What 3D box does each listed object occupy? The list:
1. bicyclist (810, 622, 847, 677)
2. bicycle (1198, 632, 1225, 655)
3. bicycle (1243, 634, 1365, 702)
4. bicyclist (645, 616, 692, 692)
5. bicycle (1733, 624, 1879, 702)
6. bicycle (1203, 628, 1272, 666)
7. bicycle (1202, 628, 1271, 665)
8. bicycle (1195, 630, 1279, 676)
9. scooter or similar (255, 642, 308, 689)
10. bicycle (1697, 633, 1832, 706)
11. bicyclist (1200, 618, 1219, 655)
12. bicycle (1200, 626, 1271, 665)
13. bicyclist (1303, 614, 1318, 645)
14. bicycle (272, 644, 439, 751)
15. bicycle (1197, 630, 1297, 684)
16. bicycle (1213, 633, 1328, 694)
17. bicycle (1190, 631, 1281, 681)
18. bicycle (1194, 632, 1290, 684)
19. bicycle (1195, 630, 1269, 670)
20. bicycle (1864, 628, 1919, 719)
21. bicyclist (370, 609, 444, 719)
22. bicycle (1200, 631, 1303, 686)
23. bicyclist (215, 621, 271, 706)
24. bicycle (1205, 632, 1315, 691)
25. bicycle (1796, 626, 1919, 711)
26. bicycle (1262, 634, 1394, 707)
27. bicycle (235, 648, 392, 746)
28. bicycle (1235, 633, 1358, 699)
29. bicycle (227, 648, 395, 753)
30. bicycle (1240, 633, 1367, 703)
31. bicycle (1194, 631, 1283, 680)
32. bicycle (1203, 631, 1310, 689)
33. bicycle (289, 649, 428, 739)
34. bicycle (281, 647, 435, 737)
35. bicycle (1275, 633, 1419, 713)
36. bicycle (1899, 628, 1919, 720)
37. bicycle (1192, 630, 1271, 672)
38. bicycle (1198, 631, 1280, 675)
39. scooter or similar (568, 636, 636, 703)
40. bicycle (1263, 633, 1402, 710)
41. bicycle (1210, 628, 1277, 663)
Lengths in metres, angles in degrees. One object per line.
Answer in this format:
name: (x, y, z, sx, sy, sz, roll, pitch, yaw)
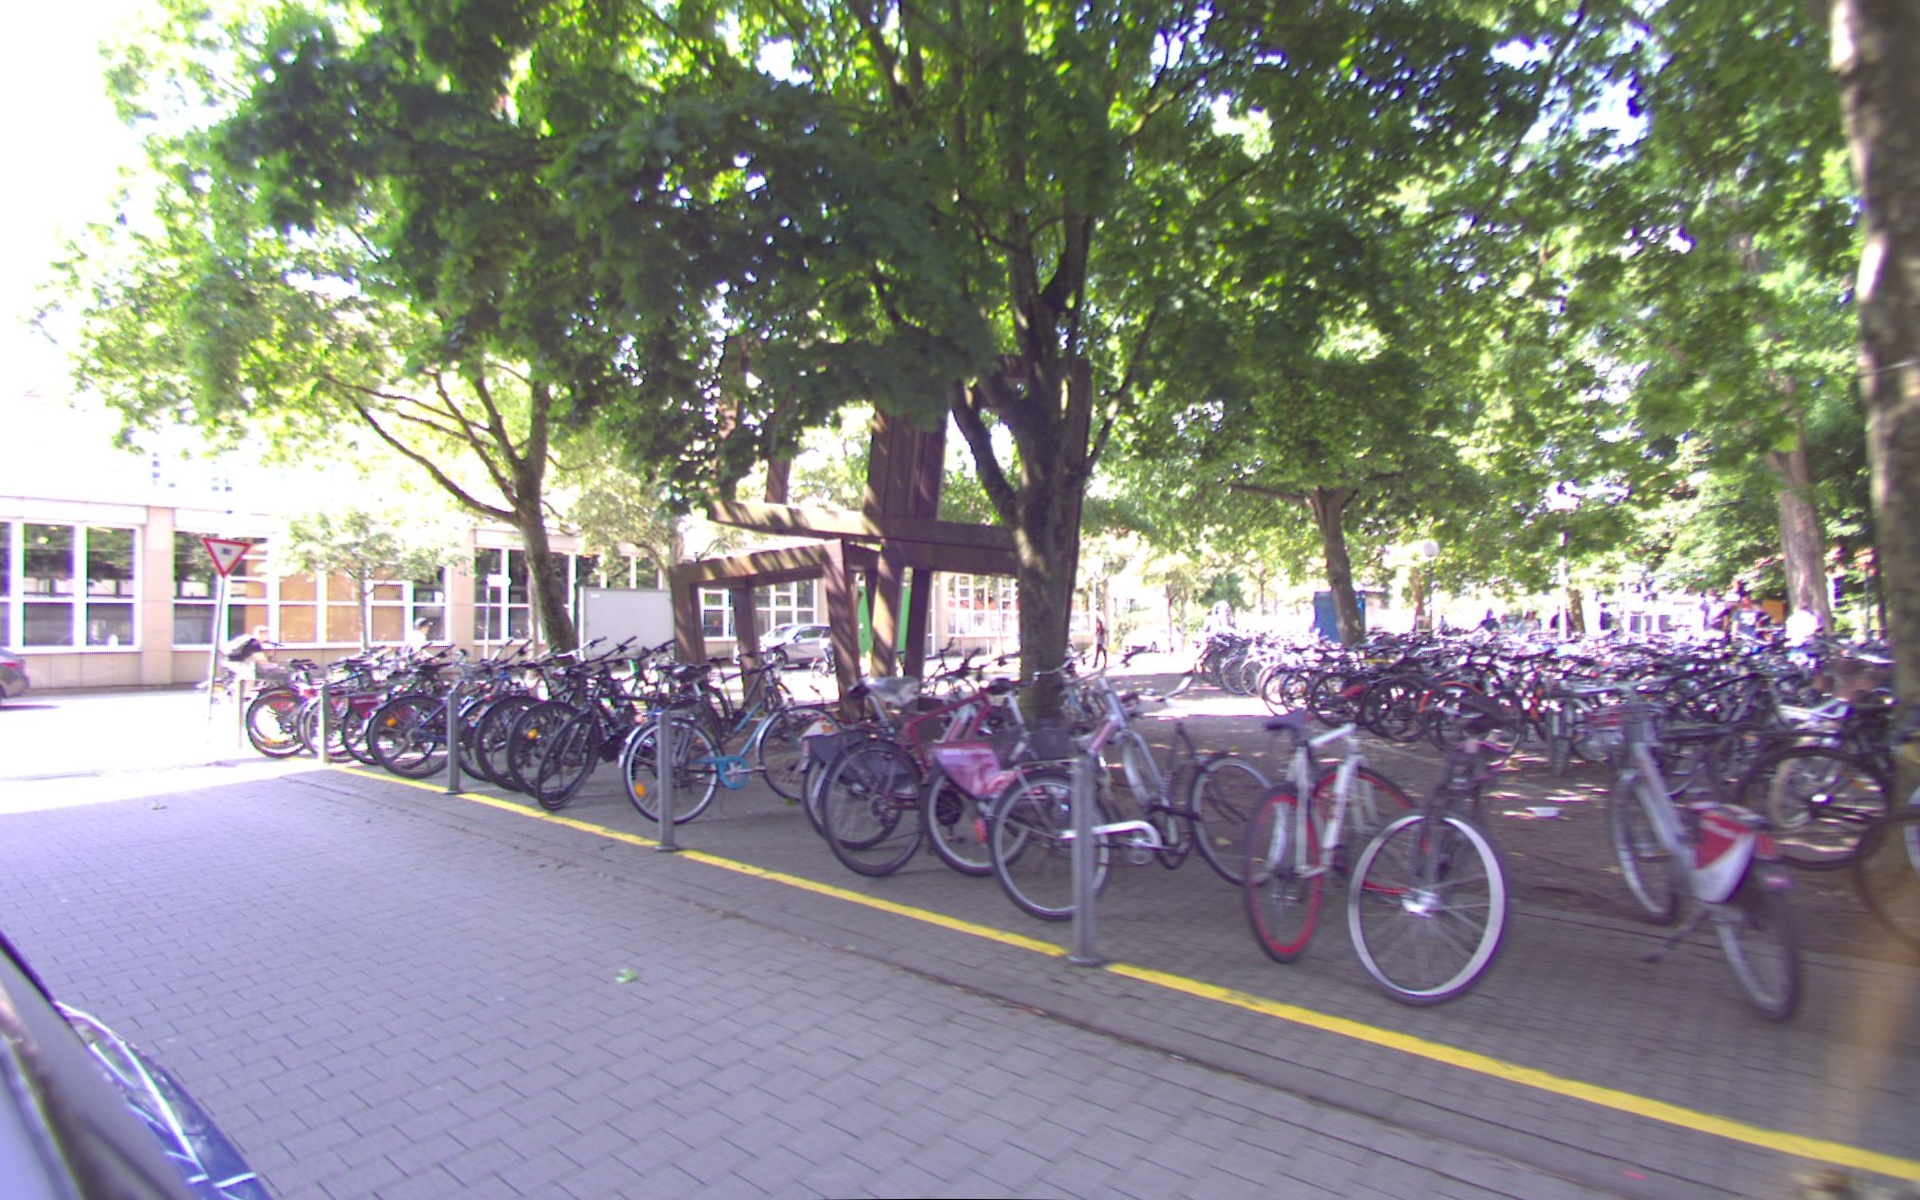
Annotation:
bicyclist: (-3.867, 1.436, 29.786, 0.639, 1.585, 0.864, 0, -1, 37)
bicycle: (12.727, 2.197, 51.245, 0.604, 1.116, 2.047, -3, -3, 35)
bicycle: (5.828, 1.143, 17.227, 1.886, 1.116, 0.501, -1, -1, 11)
bicyclist: (-7.537, 1.368, 26.183, 0.674, 1.902, 0.957, -1, 0, 38)
bicycle: (12.352, 0.908, 14.797, 1.676, 1.092, 0.474, -1, -1, 2)
bicycle: (8.443, 1.425, 30.852, 2.010, 1.116, 0.500, -1, -1, 14)
bicycle: (8.547, 1.438, 31.367, 2.010, 1.116, 0.500, -1, -1, 14)
bicycle: (6.918, 1.333, 25.347, 2.010, 1.116, 0.500, -1, -1, 14)
scooter or similar: (-18.430, 1.762, 27.496, 0.289, 1.235, 1.142, -3, -3, 43)
bicycle: (12.539, 1.084, 15.803, 1.676, 1.092, 0.474, -1, -1, 2)
bicyclist: (12.629, 1.849, 51.143, 0.604, 1.815, 0.888, -3, -3, 36)
bicycle: (8.206, 1.358, 30.240, 2.010, 1.116, 0.500, -1, -1, 14)
bicyclist: (22.107, 1.857, 63.857, 0.668, 1.889, 0.817, -3, -3, 35)
bicycle: (-6.954, 1.093, 11.681, 1.603, 1.116, 0.498, 0, -3, -38)
bicycle: (6.192, 1.232, 21.891, 2.007, 1.116, 0.501, -1, -1, 8)
bicycle: (5.777, 1.180, 18.892, 1.984, 1.116, 0.501, -1, -1, 11)
bicycle: (6.433, 1.307, 23.691, 2.010, 1.116, 0.500, -1, -1, 14)
bicycle: (6.290, 1.296, 22.656, 2.007, 1.116, 0.501, -1, -1, 8)
bicycle: (7.733, 1.424, 28.829, 2.010, 1.116, 0.500, -1, -1, 14)
bicycle: (12.301, 0.894, 12.563, 1.676, 1.092, 0.474, -1, -1, 2)
bicyclist: (-9.913, 1.130, 18.144, 0.802, 1.906, 0.858, -1, -2, 31)
bicycle: (6.107, 1.230, 21.252, 2.007, 1.116, 0.501, -1, -1, 8)
bicyclist: (-13.592, 1.188, 19.185, 0.605, 1.546, 0.717, 0, -1, 42)
bicycle: (5.801, 1.189, 19.655, 1.984, 1.116, 0.501, -1, -1, 11)
bicycle: (12.291, 0.914, 13.582, 1.676, 1.092, 0.474, -1, -1, 2)
bicycle: (5.802, 1.110, 16.031, 1.886, 1.116, 0.501, -1, -1, 11)
bicycle: (-8.162, 1.198, 12.837, 0.496, 1.116, 1.608, -4, -3, 40)
bicycle: (5.878, 1.150, 17.767, 1.984, 1.116, 0.501, -1, -1, 11)
bicycle: (-7.677, 1.158, 12.025, 0.496, 1.116, 1.608, -4, -3, 40)
bicycle: (5.613, 1.110, 16.618, 1.886, 1.116, 0.501, -1, -1, 11)
bicycle: (6.633, 1.321, 24.195, 2.010, 1.116, 0.500, -1, -1, 14)
bicycle: (5.913, 1.200, 20.239, 1.984, 1.116, 0.501, -1, -1, 11)
bicycle: (-8.495, 1.305, 14.348, 1.601, 1.168, 0.641, -1, -3, -21)
bicycle: (-8.159, 1.226, 13.787, 1.716, 1.116, 0.592, -1, -3, -20)
bicycle: (5.644, 1.062, 14.824, 1.884, 1.116, 0.501, -1, -1, 8)
bicycle: (12.314, 0.883, 12.090, 1.676, 1.092, 0.474, -1, -1, 2)
bicycle: (7.303, 1.376, 27.275, 2.010, 1.116, 0.500, -1, -1, 14)
bicycle: (7.272, 1.372, 26.437, 2.010, 1.116, 0.500, -1, -1, 14)
scooter or similar: (-6.613, 1.278, 18.708, 1.165, 1.204, 0.293, 0, -2, -14)
bicycle: (5.635, 1.082, 15.371, 1.884, 1.116, 0.501, -1, -1, 8)
bicycle: (9.104, 1.455, 32.489, 2.016, 1.116, 0.499, -1, -1, 22)
